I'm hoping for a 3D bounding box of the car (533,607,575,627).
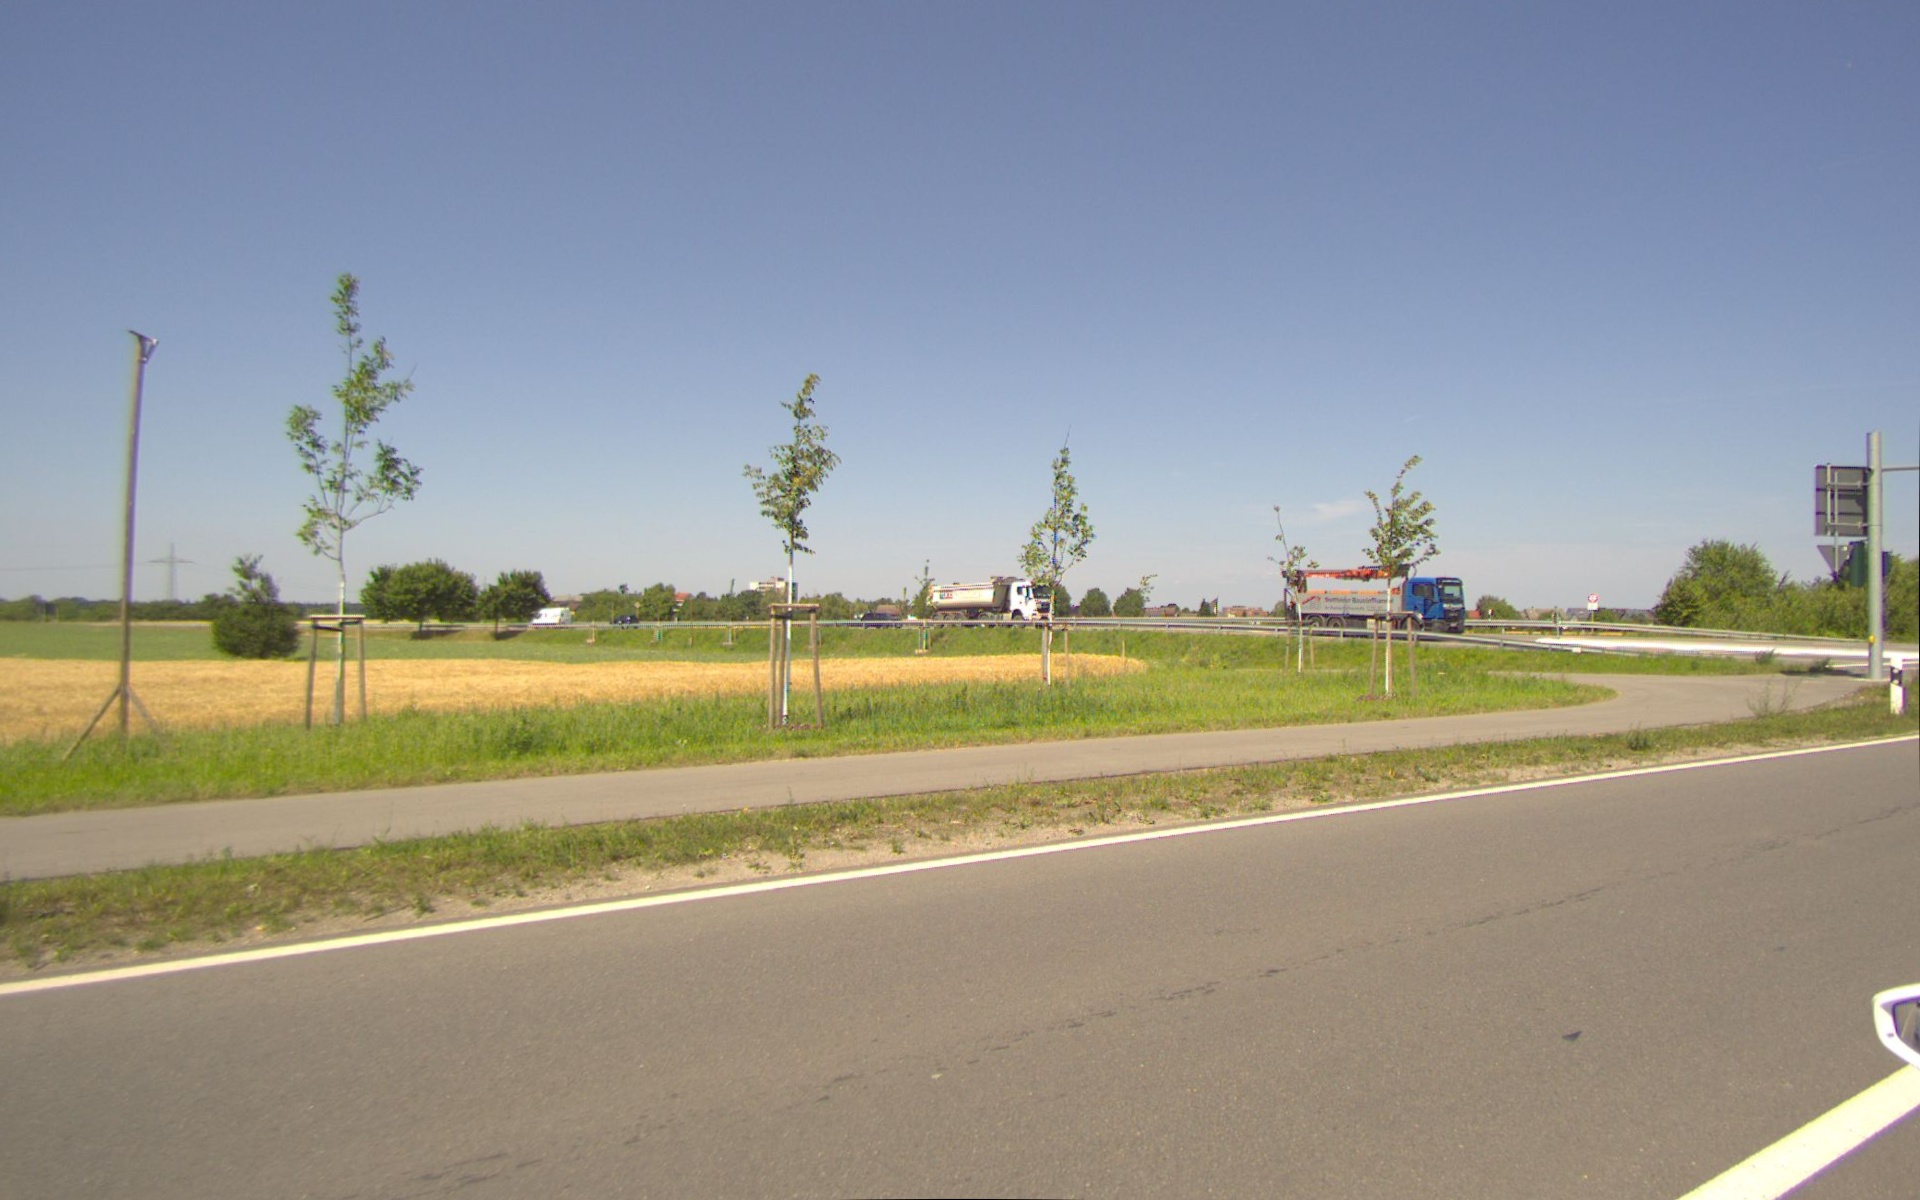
[{"bbox_3d":[-53.098,2.218,131.282,5.838,2.454,2.241,1,0,35],"label":"car"}]

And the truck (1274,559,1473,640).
[{"bbox_3d":[21.175,-0.030,52.320,2.595,3.844,10.030,0,0,-30],"label":"truck"}]

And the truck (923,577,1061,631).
[{"bbox_3d":[2.118,0.234,73.905,2.959,3.663,11.886,0,0,-40],"label":"truck"}]

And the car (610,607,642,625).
[{"bbox_3d":[-40.896,1.935,122.883,3.940,2.040,1.990,2,0,41],"label":"car"}]

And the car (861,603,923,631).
[{"bbox_3d":[-6.204,1.491,90.651,2.537,2.454,5.862,0,0,-42],"label":"car"}]
